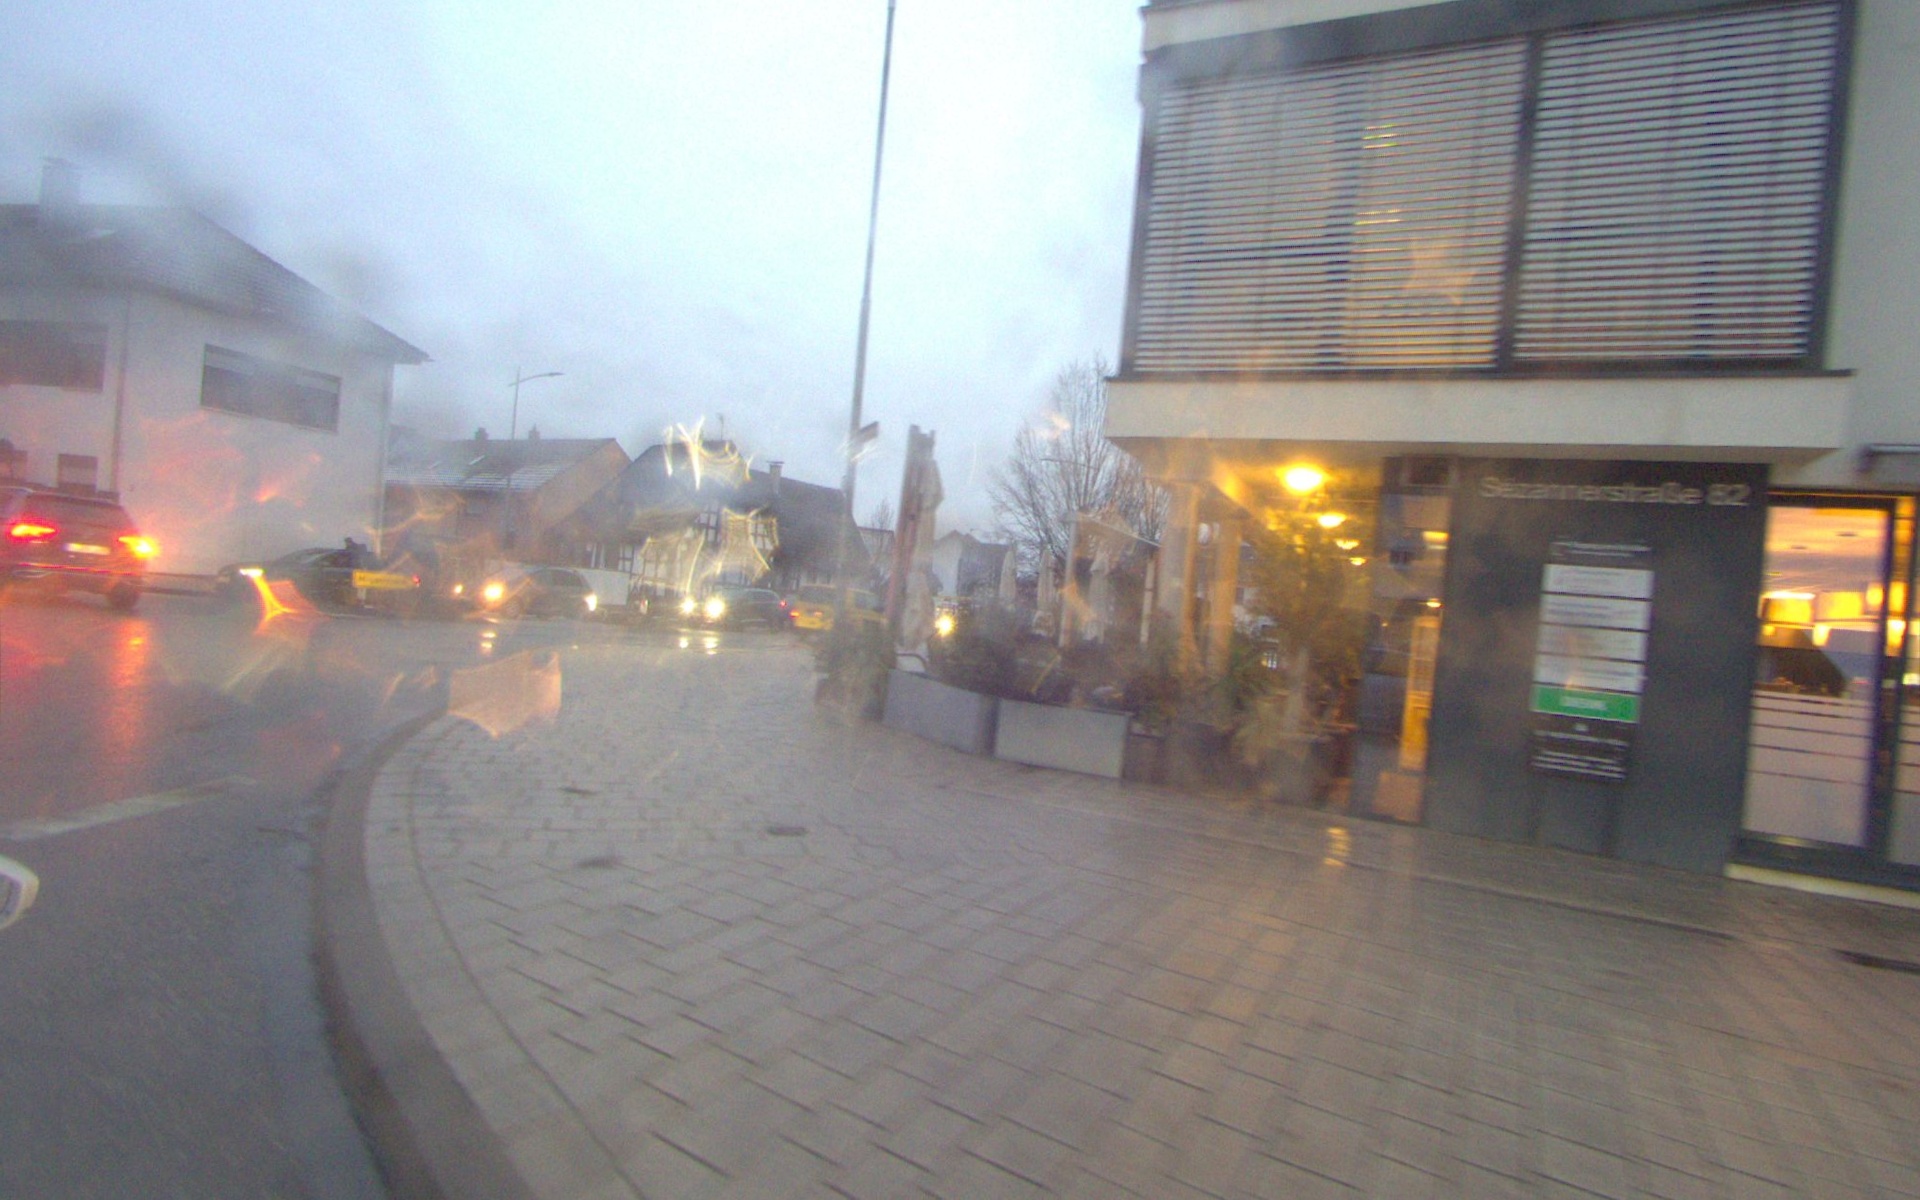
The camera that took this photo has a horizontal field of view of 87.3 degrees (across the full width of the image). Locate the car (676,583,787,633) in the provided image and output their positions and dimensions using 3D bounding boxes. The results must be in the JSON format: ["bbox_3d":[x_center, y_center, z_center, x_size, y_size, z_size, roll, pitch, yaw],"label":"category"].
[{"bbox_3d":[-8.462,0.322,37.589,1.667,1.526,4.254,5,-1,26],"label":"car"}]

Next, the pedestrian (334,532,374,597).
[{"bbox_3d":[-18.403,-1.075,30.566,0.628,1.855,0.714,8,2,38],"label":"pedestrian"}]

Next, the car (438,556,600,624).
[{"bbox_3d":[-12.509,-0.241,28.787,1.667,1.571,3.996,5,-1,27],"label":"car"}]

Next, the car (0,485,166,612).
[{"bbox_3d":[-14.316,-0.827,15.648,3.888,1.635,1.916,5,-1,34],"label":"car"}]

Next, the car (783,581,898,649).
[{"bbox_3d":[-4.138,0.601,35.815,1.963,2.038,4.900,6,0,19],"label":"car"}]

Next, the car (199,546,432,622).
[{"bbox_3d":[-15.060,-0.326,23.767,1.820,1.400,4.228,3,-2,29],"label":"car"}]

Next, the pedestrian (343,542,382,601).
[{"bbox_3d":[-17.811,-0.849,30.007,0.573,1.641,0.715,7,1,38],"label":"pedestrian"}]
